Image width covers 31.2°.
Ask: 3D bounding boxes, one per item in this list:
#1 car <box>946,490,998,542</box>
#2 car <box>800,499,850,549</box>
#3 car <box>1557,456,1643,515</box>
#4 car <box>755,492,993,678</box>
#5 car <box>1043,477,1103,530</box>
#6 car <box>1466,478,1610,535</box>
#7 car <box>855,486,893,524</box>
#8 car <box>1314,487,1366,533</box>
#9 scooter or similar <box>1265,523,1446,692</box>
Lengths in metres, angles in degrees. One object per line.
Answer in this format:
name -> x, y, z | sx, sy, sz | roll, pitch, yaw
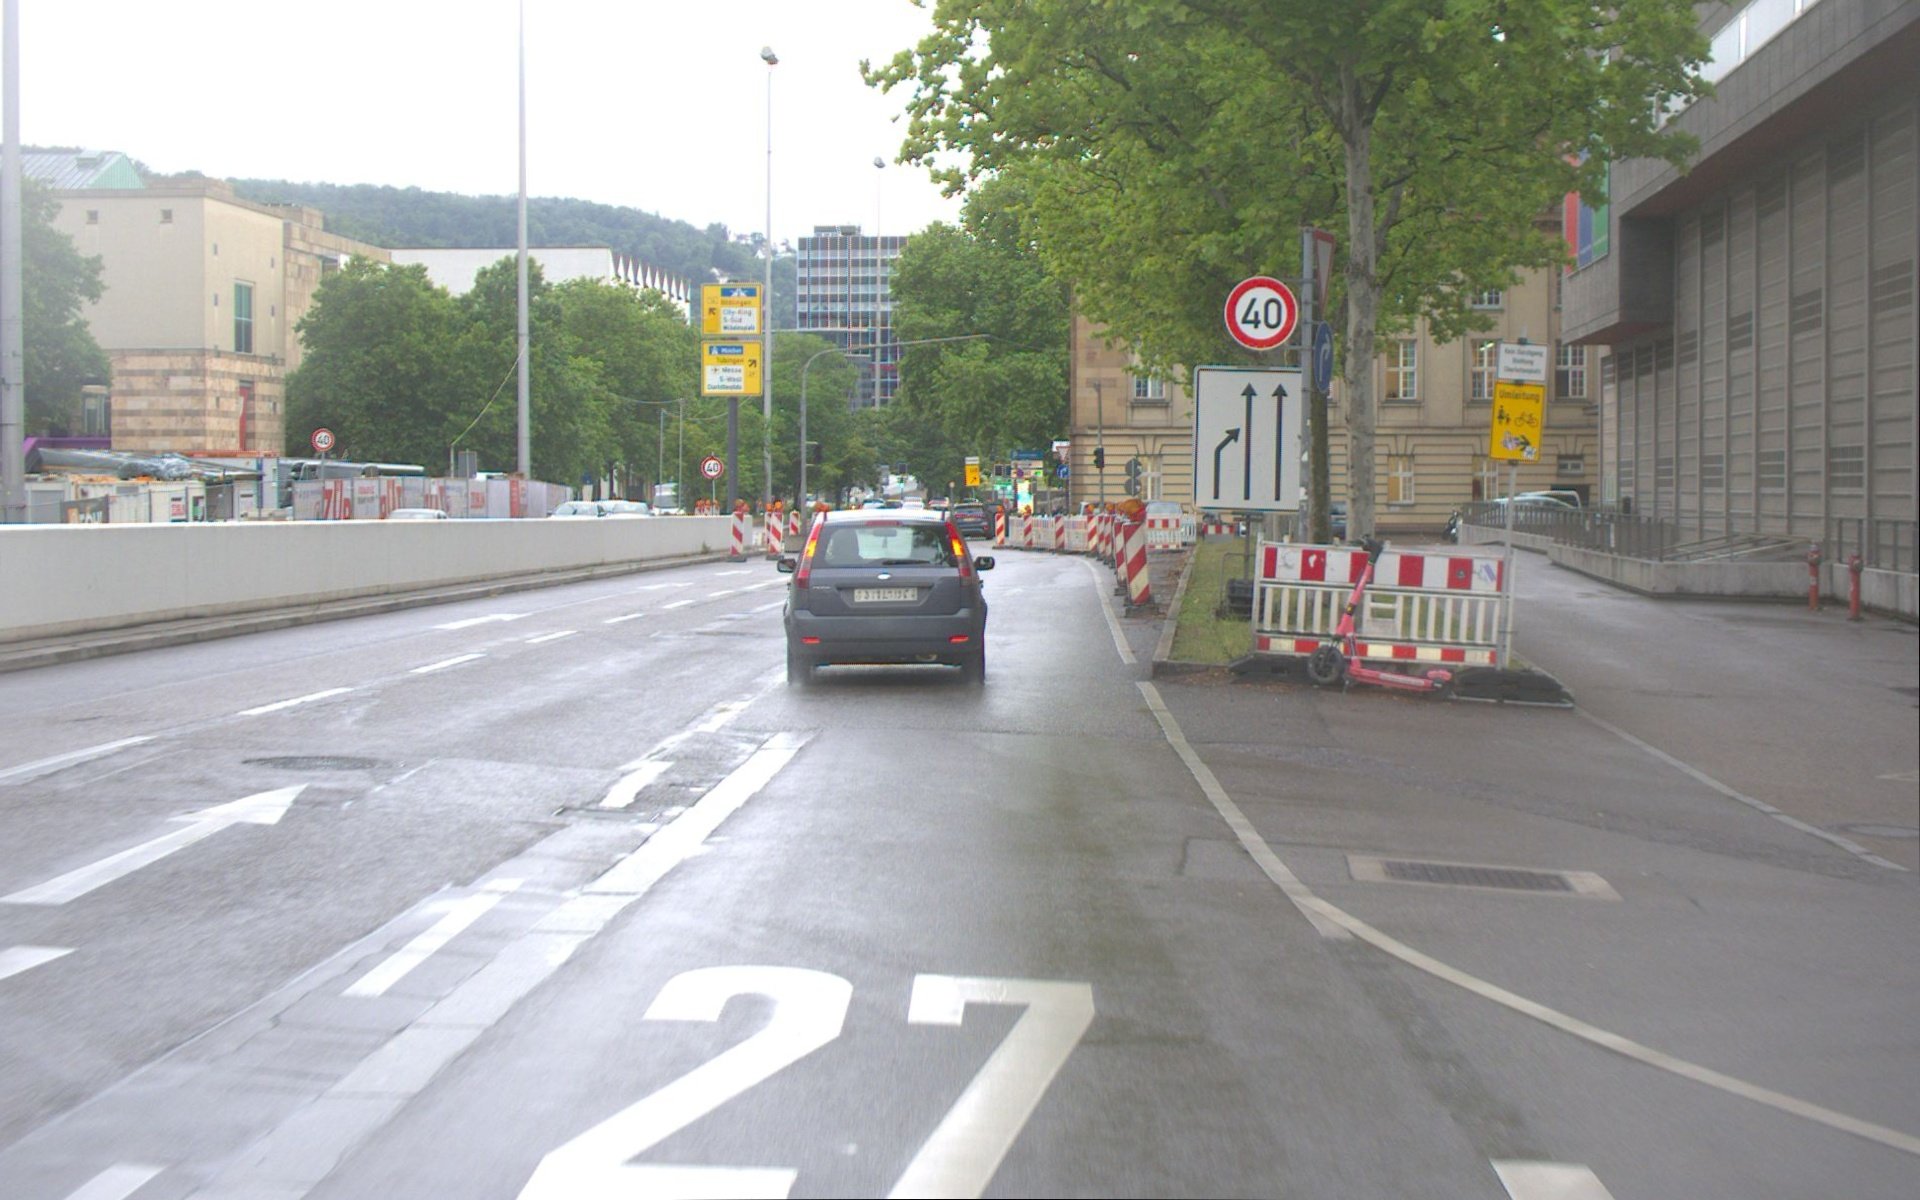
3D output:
car -> 0.499, -3.483, 141.272 | 1.993, 2.006, 4.000 | 2, 3, 2
car -> -3.854, -2.162, 97.905 | 1.385, 1.381, 3.067 | 0, 1, -2
car -> 20.335, -3.628, 109.429 | 1.994, 1.754, 5.096 | 0, 0, 3
car -> -0.796, -0.177, 29.272 | 1.669, 1.422, 3.759 | 0, 2, -7
car -> 3.869, -3.328, 117.786 | 1.993, 1.702, 4.000 | 2, 3, 2
car -> 17.097, -2.763, 101.846 | 3.987, 1.554, 1.933 | -1, -1, 3
car -> -4.903, -5.439, 196.239 | 1.993, 2.007, 4.000 | 2, 0, -3
car -> 15.178, -3.584, 137.351 | 1.994, 1.703, 3.999 | 2, 1, 7
scooter or similar -> 3.158, 0.058, 27.520 | 1.356, 1.281, 0.619 | 2, 0, 4
